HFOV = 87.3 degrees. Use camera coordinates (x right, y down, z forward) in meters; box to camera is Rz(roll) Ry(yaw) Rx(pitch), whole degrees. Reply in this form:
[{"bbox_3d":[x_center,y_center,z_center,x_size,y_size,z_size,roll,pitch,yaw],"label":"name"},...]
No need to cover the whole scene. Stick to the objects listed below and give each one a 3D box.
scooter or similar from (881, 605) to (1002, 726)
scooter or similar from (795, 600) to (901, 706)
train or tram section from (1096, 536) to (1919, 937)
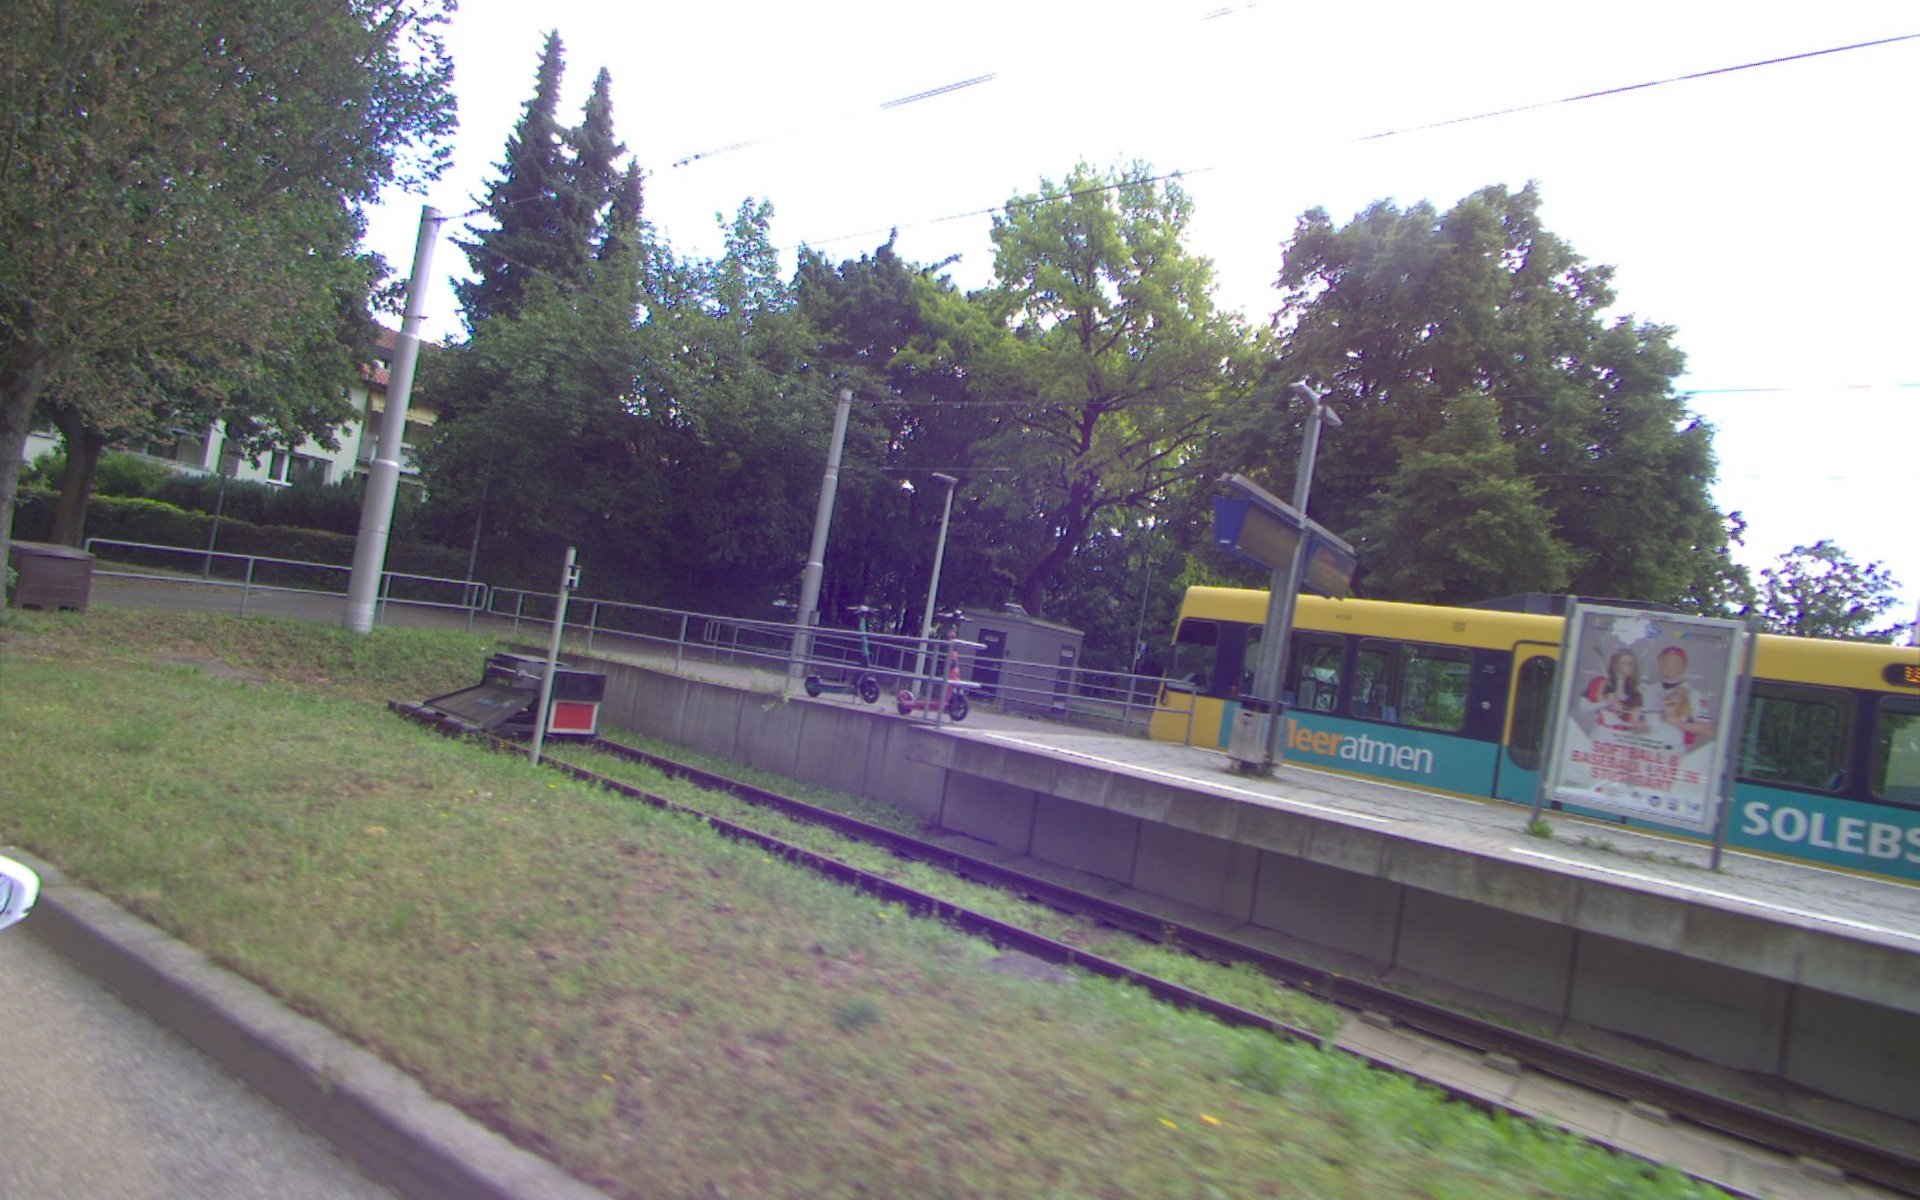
[{"bbox_3d":[-0.224,0.753,11.708,1.234,1.267,0.431,5,-2,30],"label":"scooter or similar"},{"bbox_3d":[-1.492,0.700,13.336,1.233,1.267,0.431,5,-2,27],"label":"scooter or similar"},{"bbox_3d":[10.808,1.871,11.636,19.223,3.626,2.817,7,-4,39],"label":"train or tram section"}]
